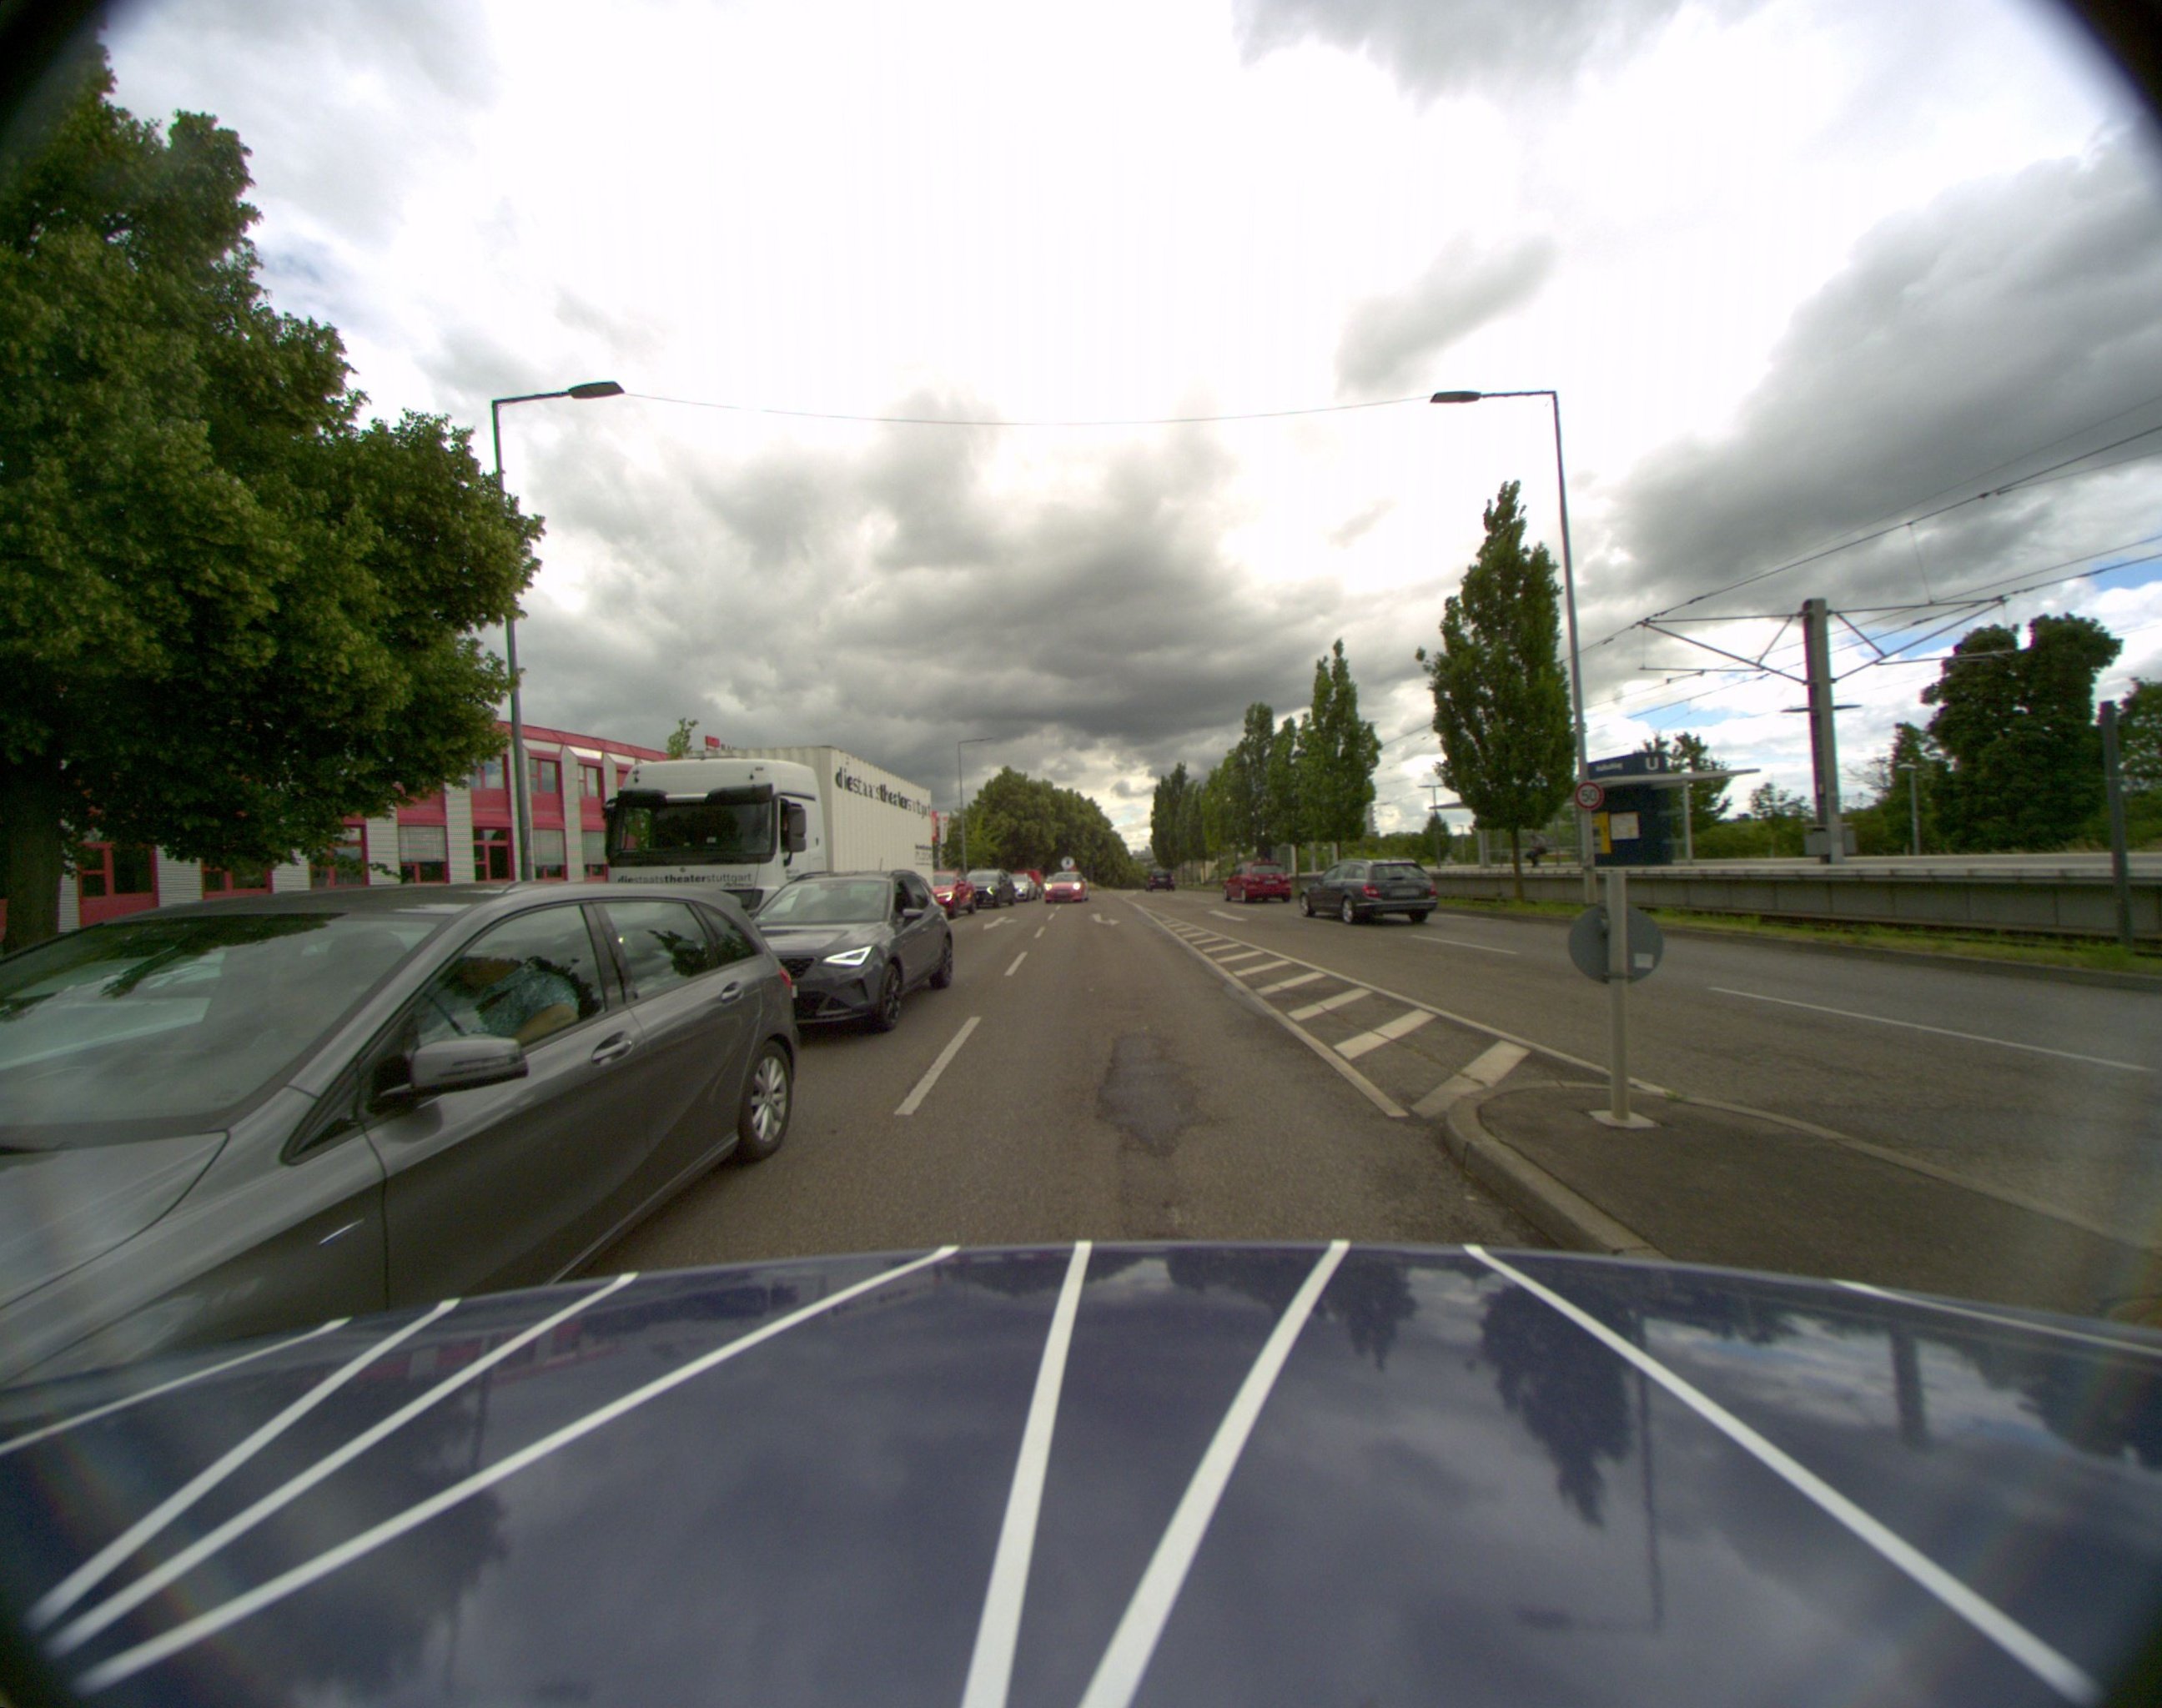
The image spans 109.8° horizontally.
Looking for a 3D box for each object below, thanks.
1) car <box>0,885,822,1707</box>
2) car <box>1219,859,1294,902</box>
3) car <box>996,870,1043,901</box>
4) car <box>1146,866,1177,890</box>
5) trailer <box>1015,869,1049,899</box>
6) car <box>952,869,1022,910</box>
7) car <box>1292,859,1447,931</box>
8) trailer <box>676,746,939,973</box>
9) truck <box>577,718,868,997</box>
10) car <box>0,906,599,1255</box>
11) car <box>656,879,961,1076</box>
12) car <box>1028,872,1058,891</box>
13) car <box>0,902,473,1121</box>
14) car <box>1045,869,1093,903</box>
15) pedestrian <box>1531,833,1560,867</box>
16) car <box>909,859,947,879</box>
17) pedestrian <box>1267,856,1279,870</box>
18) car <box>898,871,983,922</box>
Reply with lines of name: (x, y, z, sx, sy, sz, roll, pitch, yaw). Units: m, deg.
car: (-2.577, 0.986, 2.435, 1.803, 1.514, 4.188, -3, 0, 3)
car: (6.677, 1.003, 29.272, 1.707, 1.479, 4.086, -2, -1, -3)
car: (-3.122, 1.602, 39.287, 1.675, 1.439, 4.492, -2, -1, 5)
car: (5.675, 1.701, 53.901, 1.730, 1.564, 3.708, -2, -1, 0)
trailer: (-2.728, 1.661, 43.166, 1.412, 1.584, 3.305, -2, -1, 5)
car: (-3.923, 1.451, 32.412, 1.848, 1.552, 4.407, -2, -1, 7)
car: (6.621, 0.862, 18.040, 1.695, 1.431, 4.544, -2, 0, -3)
trailer: (-5.259, 0.159, 16.467, 2.572, 3.683, 7.766, -2, -1, 2)
truck: (-5.416, 0.093, 12.289, 2.577, 3.683, 4.107, -2, -1, 2)
car: (-5.665, 1.187, 5.145, 1.815, 1.346, 4.120, -2, 0, 7)
car: (-2.574, 1.092, 8.293, 1.702, 1.477, 4.001, -2, 0, 2)
car: (-2.930, 2.130, 58.697, 1.739, 1.365, 4.003, -2, -3, 5)
car: (-8.602, 1.372, 7.832, 1.645, 1.487, 3.683, -2, 0, 0)
car: (-0.516, 1.453, 35.790, 1.722, 1.448, 3.699, -2, -1, 7)
pedestrian: (17.770, -0.149, 29.102, 0.611, 1.261, 0.660, -2, -3, -3)
car: (-17.098, 1.717, 85.042, 3.762, 1.946, 1.645, -3, -3, 10)
pedestrian: (16.630, 0.799, 65.821, 0.763, 1.192, 0.665, -2, -1, 0)
car: (-4.639, 1.367, 25.719, 1.711, 1.515, 4.321, -2, -1, 4)
